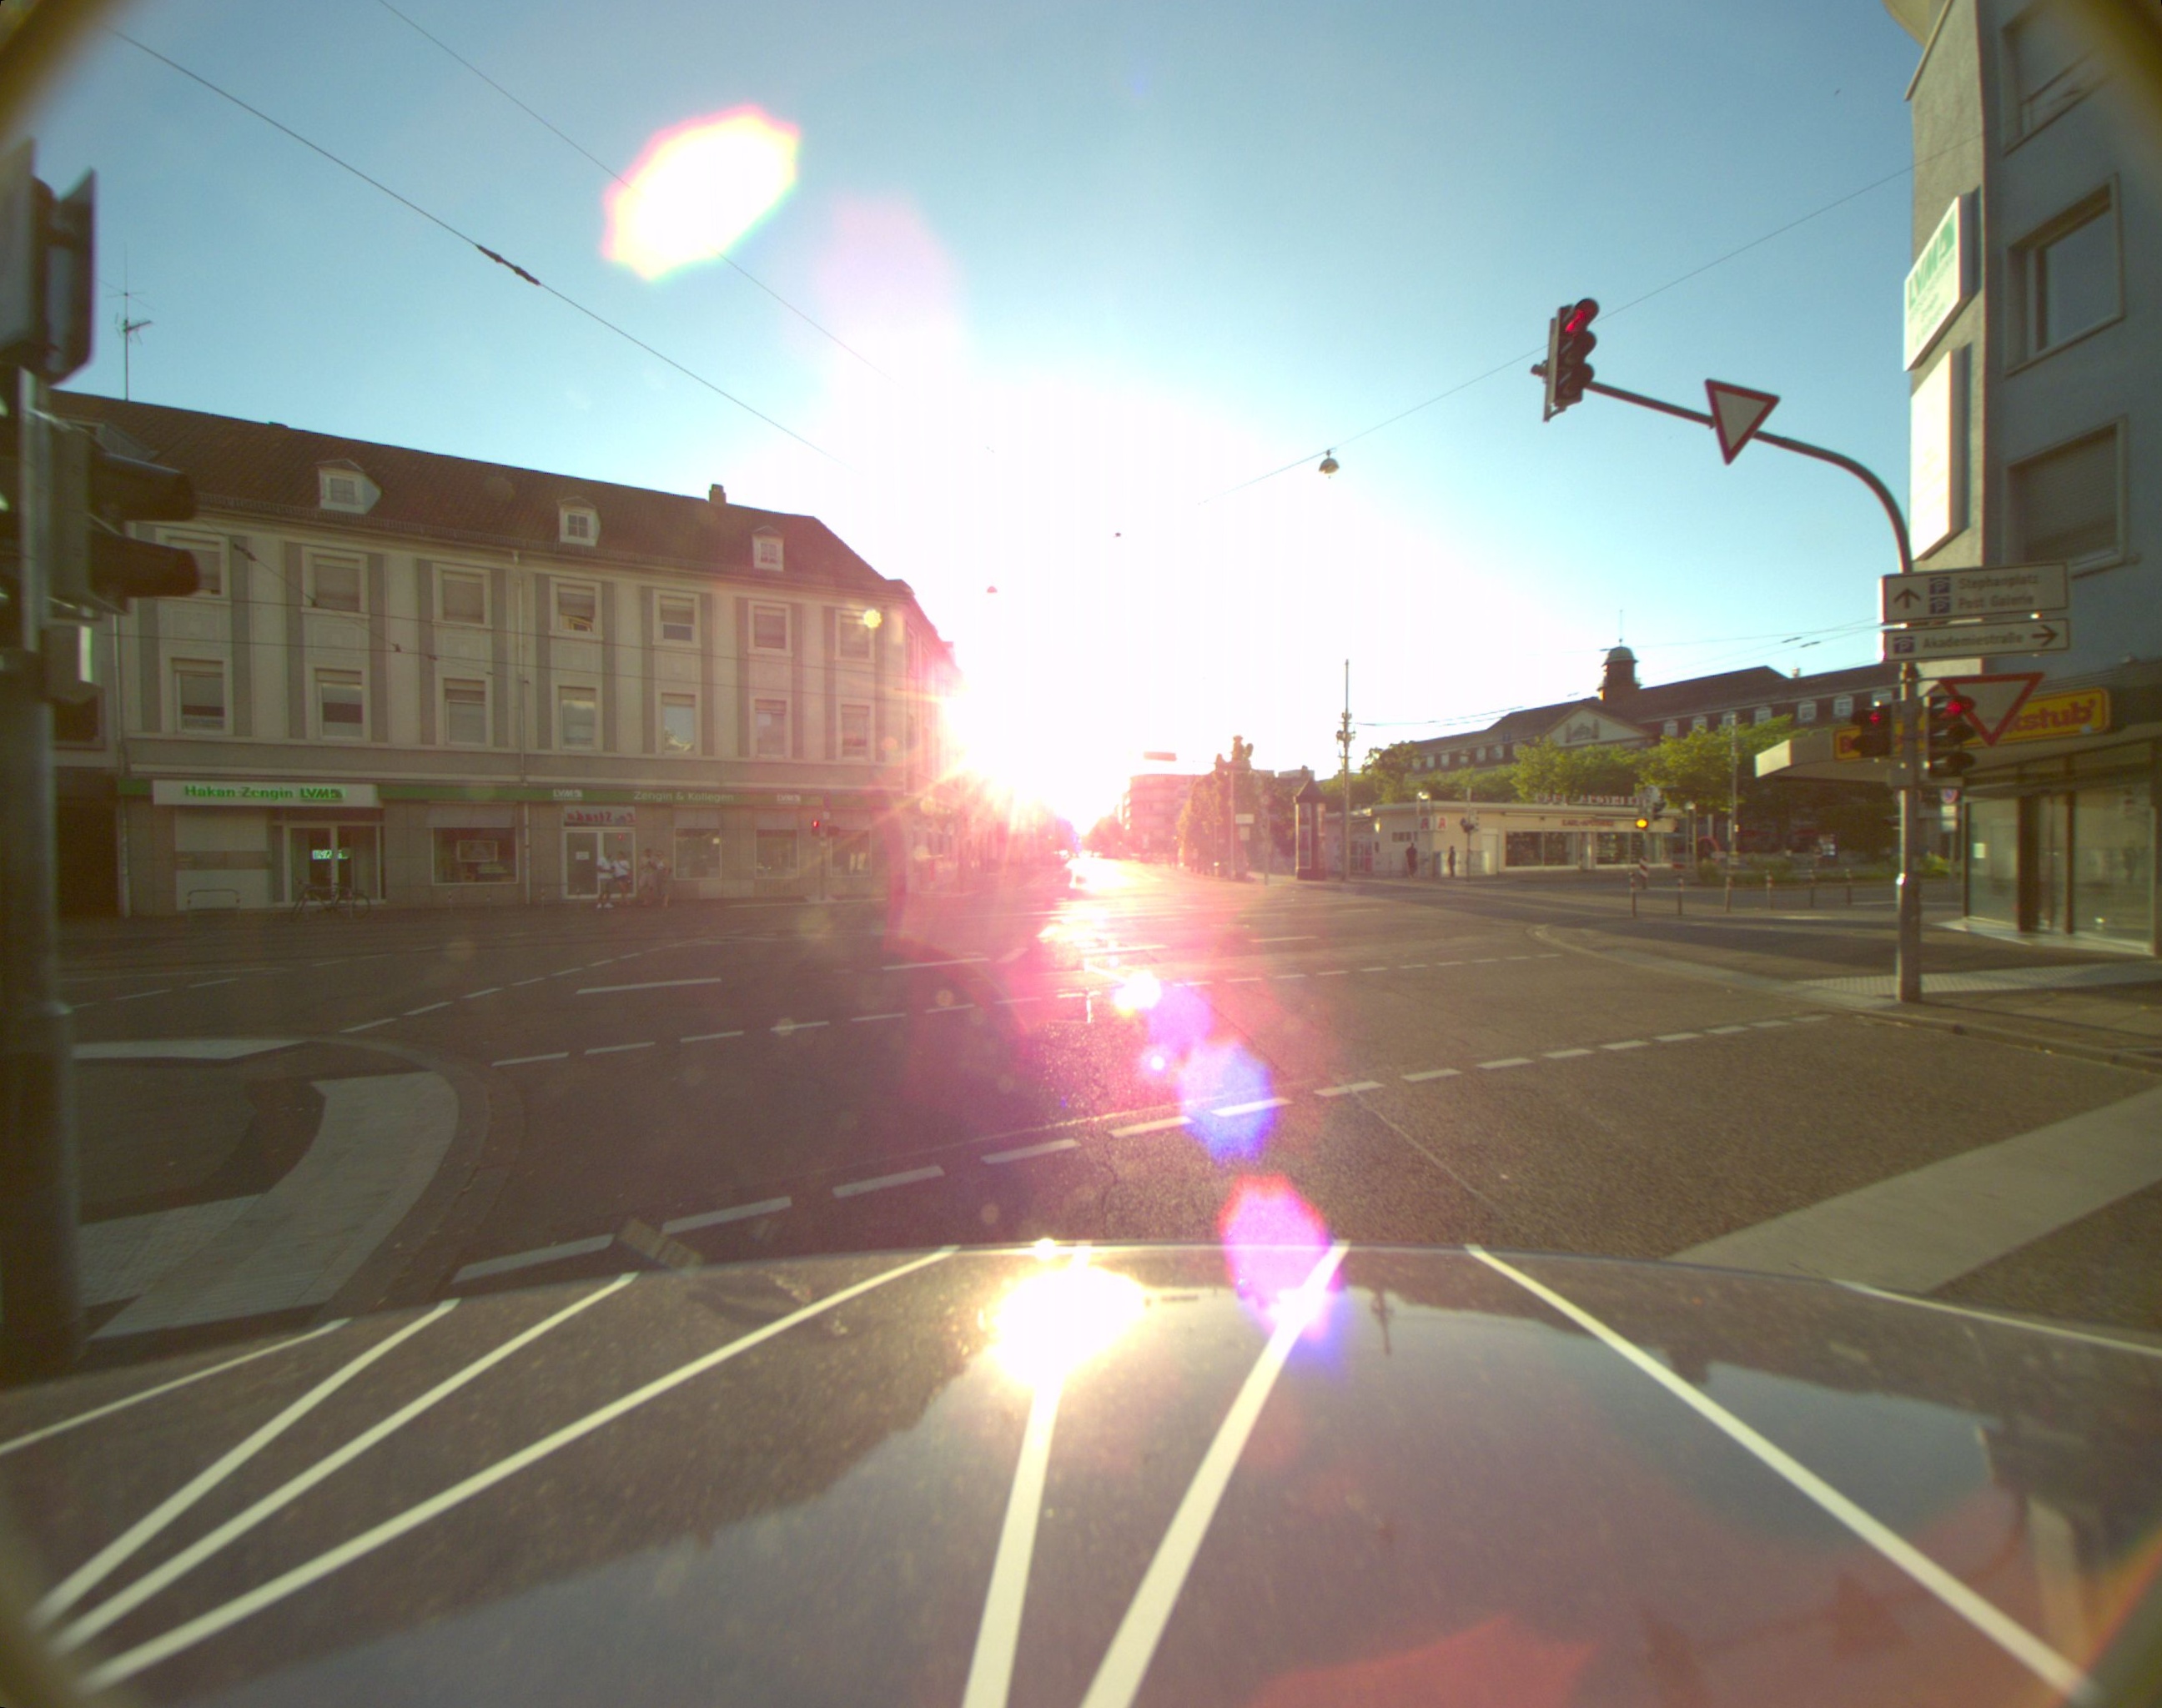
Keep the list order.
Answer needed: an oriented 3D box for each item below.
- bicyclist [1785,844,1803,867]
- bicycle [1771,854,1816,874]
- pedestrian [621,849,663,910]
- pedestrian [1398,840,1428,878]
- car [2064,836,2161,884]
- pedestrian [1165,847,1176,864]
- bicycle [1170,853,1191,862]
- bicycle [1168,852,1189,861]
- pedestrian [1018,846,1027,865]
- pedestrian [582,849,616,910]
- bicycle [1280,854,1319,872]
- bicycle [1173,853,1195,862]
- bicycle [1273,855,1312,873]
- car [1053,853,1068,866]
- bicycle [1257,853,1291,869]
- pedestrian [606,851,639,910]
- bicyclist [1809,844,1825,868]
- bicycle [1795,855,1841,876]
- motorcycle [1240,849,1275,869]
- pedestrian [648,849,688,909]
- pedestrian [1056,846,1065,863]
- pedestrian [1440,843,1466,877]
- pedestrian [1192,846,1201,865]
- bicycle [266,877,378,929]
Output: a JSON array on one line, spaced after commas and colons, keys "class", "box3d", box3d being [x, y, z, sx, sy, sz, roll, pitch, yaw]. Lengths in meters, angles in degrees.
[{"class": "bicyclist", "box3d": [54.079, 0.125, 57.641, 0.788, 1.710, 0.594, -1, 2, 19]}, {"class": "bicycle", "box3d": [54.089, 0.787, 57.680, 2.495, 1.478, 0.594, -1, 2, 19]}, {"class": "pedestrian", "box3d": [-13.385, 0.753, 23.197, 0.780, 1.802, 0.905, -2, 2, -12]}, {"class": "pedestrian", "box3d": [15.719, 0.227, 35.952, 0.908, 1.774, 0.879, -2, 2, -22]}, {"class": "car", "box3d": [40.701, 0.195, 29.396, 4.614, 1.726, 2.045, -1, 0, -21]}, {"class": "pedestrian", "box3d": [8.762, 0.143, 74.319, 0.905, 1.667, 0.780, -1, 2, 11]}, {"class": "bicycle", "box3d": [11.513, 0.368, 87.806, 2.399, 0.953, 0.672, -2, 2, 7]}, {"class": "bicycle", "box3d": [11.465, 0.288, 89.460, 2.399, 1.065, 0.672, -2, 2, 7]}, {"class": "pedestrian", "box3d": [-5.632, 0.141, 72.677, 0.673, 1.775, 0.720, 1, 2, -16]}, {"class": "pedestrian", "box3d": [-14.388, 0.756, 22.695, 0.688, 1.762, 0.763, -3, 2, -41]}, {"class": "bicycle", "box3d": [13.512, 0.541, 47.036, 2.197, 1.081, 0.779, 0, 2, -7]}, {"class": "bicycle", "box3d": [11.729, 0.373, 86.752, 2.399, 0.953, 0.672, -2, 2, 7]}, {"class": "bicycle", "box3d": [13.393, 0.657, 48.160, 2.222, 1.081, 0.779, -1, 2, -6]}, {"class": "car", "box3d": [-2.826, 0.767, 106.299, 1.998, 1.538, 4.508, -2, 1, 0]}, {"class": "bicycle", "box3d": [13.461, 0.490, 52.953, 2.181, 1.081, 0.779, 0, 2, 0]}, {"class": "pedestrian", "box3d": [-14.008, 0.793, 23.217, 0.685, 1.762, 0.628, -3, 2, -41]}, {"class": "bicyclist", "box3d": [53.904, 0.156, 55.667, 0.654, 1.702, 0.621, -1, 2, 19]}, {"class": "bicycle", "box3d": [53.980, 0.830, 55.677, 2.414, 1.478, 0.616, -1, 2, 19]}, {"class": "motorcycle", "box3d": [13.043, 0.357, 56.191, 2.450, 1.358, 0.780, -2, 0, 5]}, {"class": "pedestrian", "box3d": [-12.600, 0.751, 23.192, 0.780, 1.762, 0.905, -2, 2, -12]}, {"class": "pedestrian", "box3d": [-2.112, 0.050, 78.455, 0.842, 1.736, 0.700, -2, 2, -1]}, {"class": "pedestrian", "box3d": [18.879, 0.297, 38.559, 0.781, 1.667, 0.904, -3, 2, -35]}, {"class": "pedestrian", "box3d": [10.857, 0.136, 71.683, 0.778, 1.667, 0.907, -1, 2, 7]}, {"class": "bicycle", "box3d": [-19.362, 1.220, 19.429, 1.874, 1.177, 0.695, -2, 2, -19]}]
